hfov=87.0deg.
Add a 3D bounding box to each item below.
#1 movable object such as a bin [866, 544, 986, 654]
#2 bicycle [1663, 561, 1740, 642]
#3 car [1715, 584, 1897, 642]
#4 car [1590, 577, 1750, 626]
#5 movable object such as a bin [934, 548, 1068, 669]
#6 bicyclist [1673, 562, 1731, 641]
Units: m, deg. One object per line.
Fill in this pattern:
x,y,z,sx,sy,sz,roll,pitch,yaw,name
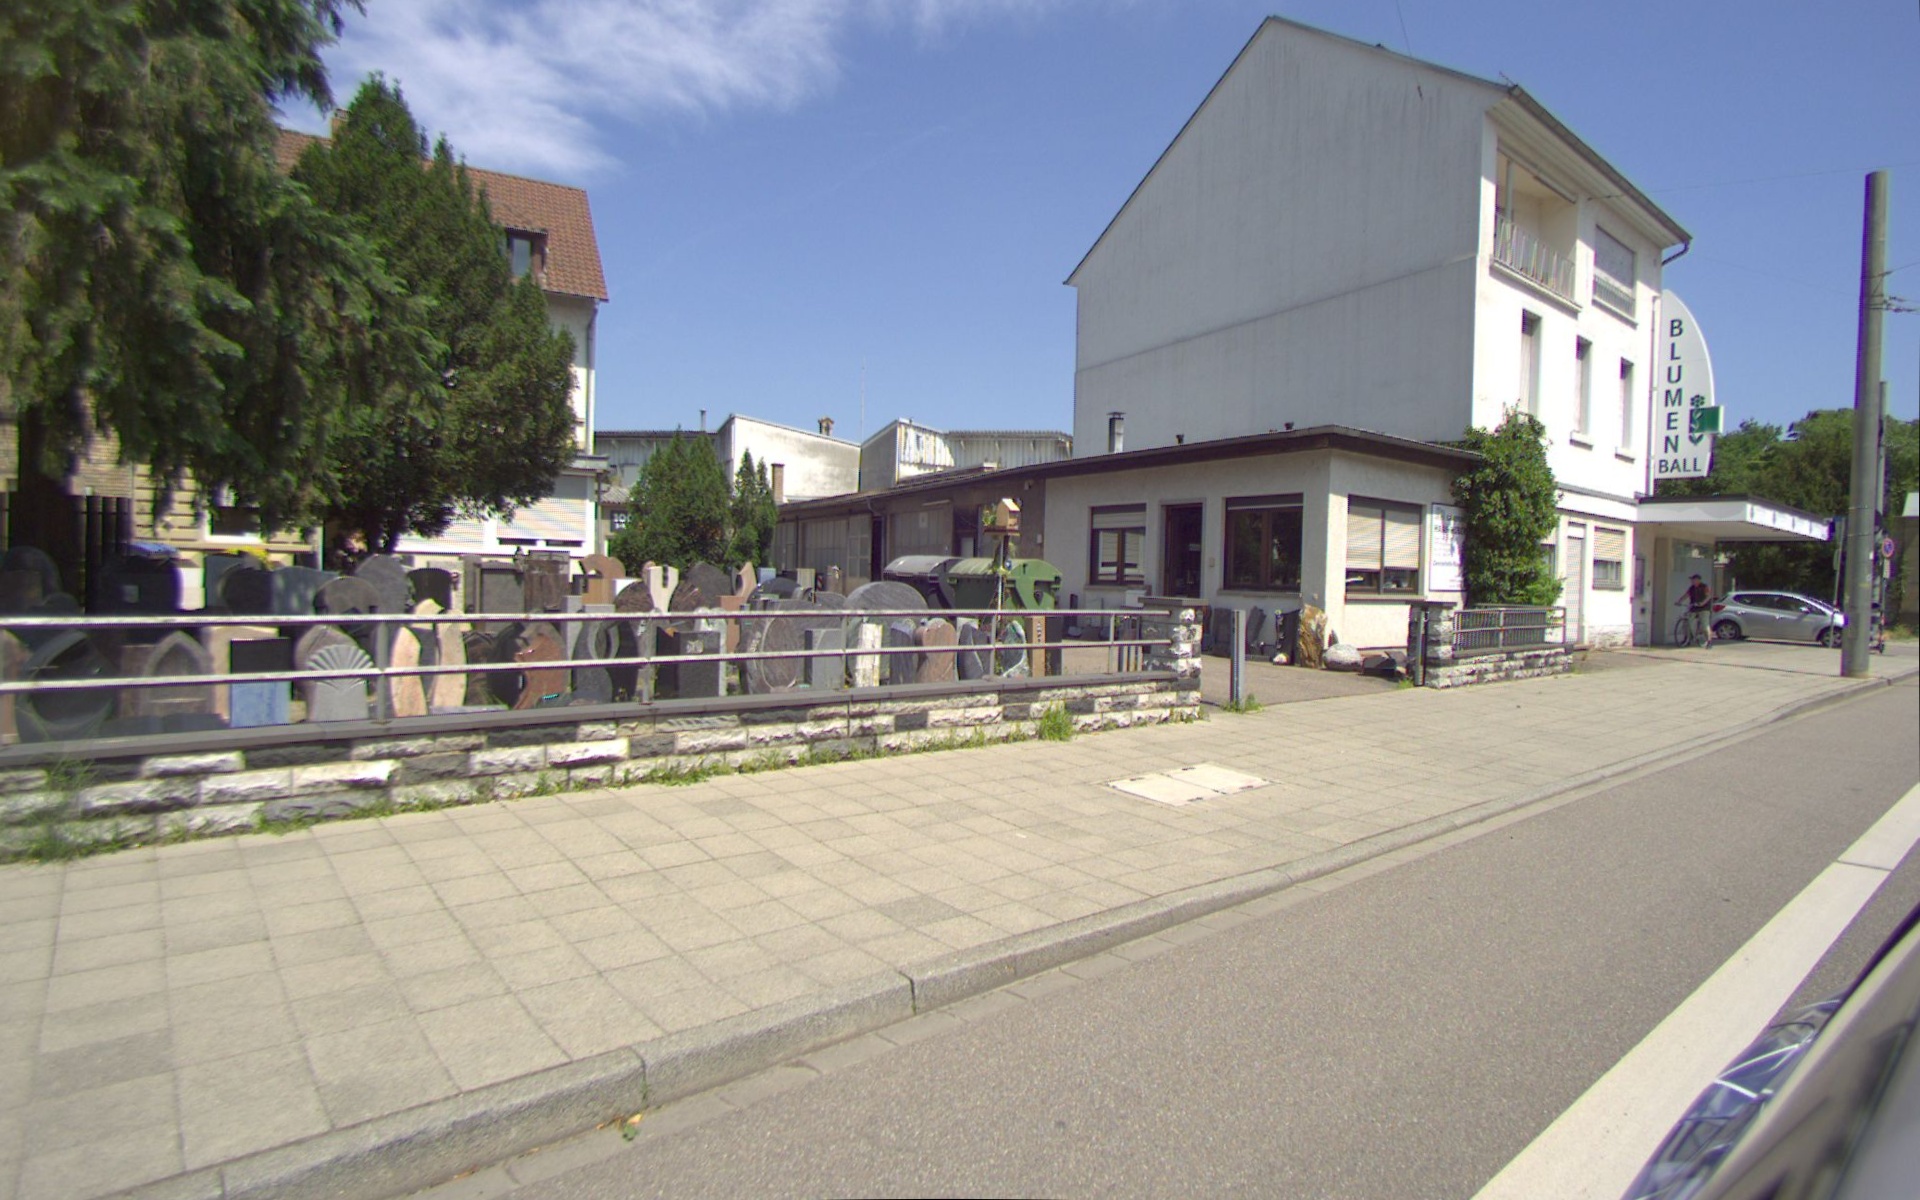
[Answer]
-0.506,-0.040,14.685,1.130,1.499,1.391,0,1,-36,movable object such as a bin
18.502,0.032,25.243,1.920,1.923,0.802,1,3,-33,bicycle
25.868,0.350,31.062,1.666,1.536,3.998,0,2,-38,car
25.617,0.030,36.646,1.566,1.475,4.461,2,2,-40,car
0.537,0.080,13.470,1.131,1.499,1.390,0,1,-39,movable object such as a bin
18.500,0.043,25.241,0.870,1.897,0.792,1,3,-33,bicyclist
